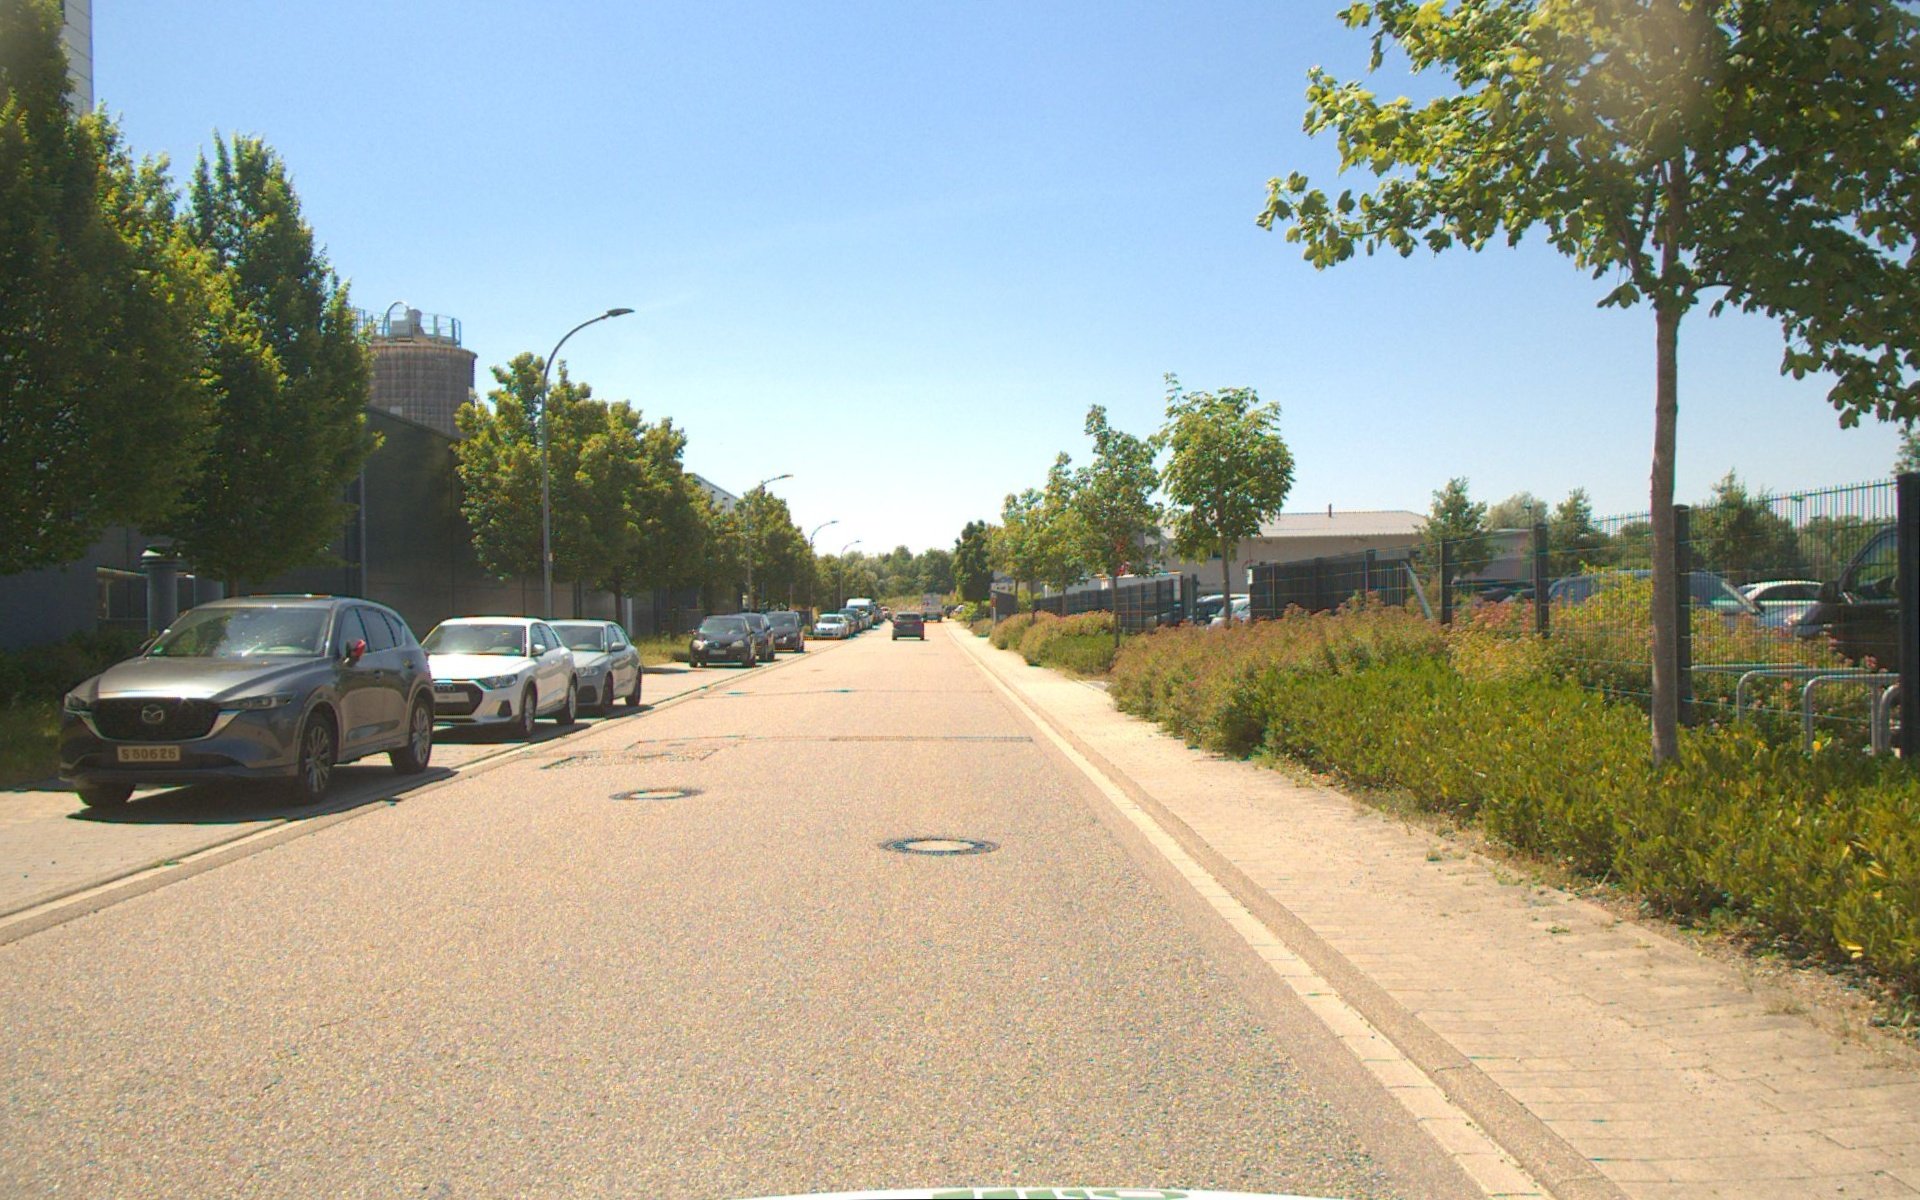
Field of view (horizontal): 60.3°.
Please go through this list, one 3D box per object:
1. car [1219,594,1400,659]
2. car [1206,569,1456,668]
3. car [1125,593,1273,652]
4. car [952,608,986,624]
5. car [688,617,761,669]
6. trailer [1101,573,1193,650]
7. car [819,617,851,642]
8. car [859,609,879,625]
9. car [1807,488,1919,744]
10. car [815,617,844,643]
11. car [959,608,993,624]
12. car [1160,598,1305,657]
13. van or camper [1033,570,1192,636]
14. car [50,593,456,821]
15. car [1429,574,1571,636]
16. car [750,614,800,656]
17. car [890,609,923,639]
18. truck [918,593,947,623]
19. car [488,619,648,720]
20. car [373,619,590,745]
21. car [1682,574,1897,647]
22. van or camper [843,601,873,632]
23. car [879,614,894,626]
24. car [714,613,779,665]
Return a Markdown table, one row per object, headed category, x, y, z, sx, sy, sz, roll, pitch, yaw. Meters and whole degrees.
| category | x | y | z | sx | sy | sz | roll | pitch | yaw |
| --- | --- | --- | --- | --- | --- | --- | --- | --- | --- |
| car | 8.915 | 0.675 | 42.424 | 4.193 | 1.470 | 1.754 | -2 | -1 | -2 |
| car | 8.132 | 0.411 | 36.541 | 5.011 | 1.906 | 1.902 | -3 | -1 | -2 |
| car | 6.836 | 0.649 | 47.583 | 3.907 | 1.548 | 1.822 | -2 | -1 | -2 |
| car | 0.997 | 1.798 | 189.576 | 3.799 | 1.780 | 1.750 | 1 | -1 | -4 |
| car | -6.922 | 1.237 | 48.909 | 1.735 | 1.456 | 4.198 | 0 | -1 | -3 |
| trailer | 6.333 | 0.399 | 56.108 | 2.768 | 2.445 | 1.418 | -3 | -1 | -6 |
| car | -7.881 | 1.847 | 104.616 | 1.762 | 1.502 | 4.553 | 0 | -1 | -1 |
| car | -9.191 | 1.700 | 168.031 | 1.762 | 1.513 | 4.252 | 0 | 0 | 0 |
| car | 8.897 | 0.094 | 13.316 | 1.839 | 2.123 | 4.224 | -2 | 0 | -1 |
| car | -7.829 | 1.786 | 99.355 | 1.686 | 1.502 | 3.854 | 0 | -1 | -4 |
| car | 1.797 | 1.785 | 187.288 | 3.799 | 1.780 | 1.750 | 1 | -1 | -4 |
| car | 7.326 | 0.747 | 44.662 | 3.591 | 1.447 | 1.644 | -2 | -1 | -2 |
| van or camper | 6.617 | 0.148 | 72.462 | 6.621 | 2.630 | 2.634 | -2 | -1 | -2 |
| car | -5.878 | 0.805 | 14.413 | 1.735 | 1.652 | 4.579 | 0 | -1 | -3 |
| car | 17.646 | 0.173 | 54.169 | 3.960 | 1.831 | 1.917 | -2 | -1 | -2 |
| car | -7.492 | 1.411 | 67.289 | 1.735 | 1.640 | 4.245 | 0 | -1 | -2 |
| car | -2.993 | 1.350 | 92.823 | 1.753 | 1.652 | 3.807 | 1 | -1 | -1 |
| truck | -2.866 | 0.890 | 171.765 | 2.873 | 3.026 | 6.417 | 1 | -1 | -1 |
| car | -6.099 | 1.032 | 26.118 | 1.735 | 1.456 | 3.938 | 0 | -1 | -3 |
| car | -6.045 | 0.977 | 21.378 | 1.735 | 1.456 | 4.198 | 0 | -1 | -3 |
| car | 18.192 | 0.233 | 36.392 | 3.793 | 1.427 | 1.767 | -2 | -1 | 1 |
| van or camper | -8.630 | 1.414 | 140.447 | 2.036 | 2.526 | 6.131 | 1 | -1 | 1 |
| car | -9.715 | 2.625 | 217.939 | 1.762 | 1.513 | 4.252 | 0 | 0 | 0 |
| car | -7.132 | 1.268 | 55.508 | 1.735 | 1.640 | 4.849 | 0 | -1 | -2 |
